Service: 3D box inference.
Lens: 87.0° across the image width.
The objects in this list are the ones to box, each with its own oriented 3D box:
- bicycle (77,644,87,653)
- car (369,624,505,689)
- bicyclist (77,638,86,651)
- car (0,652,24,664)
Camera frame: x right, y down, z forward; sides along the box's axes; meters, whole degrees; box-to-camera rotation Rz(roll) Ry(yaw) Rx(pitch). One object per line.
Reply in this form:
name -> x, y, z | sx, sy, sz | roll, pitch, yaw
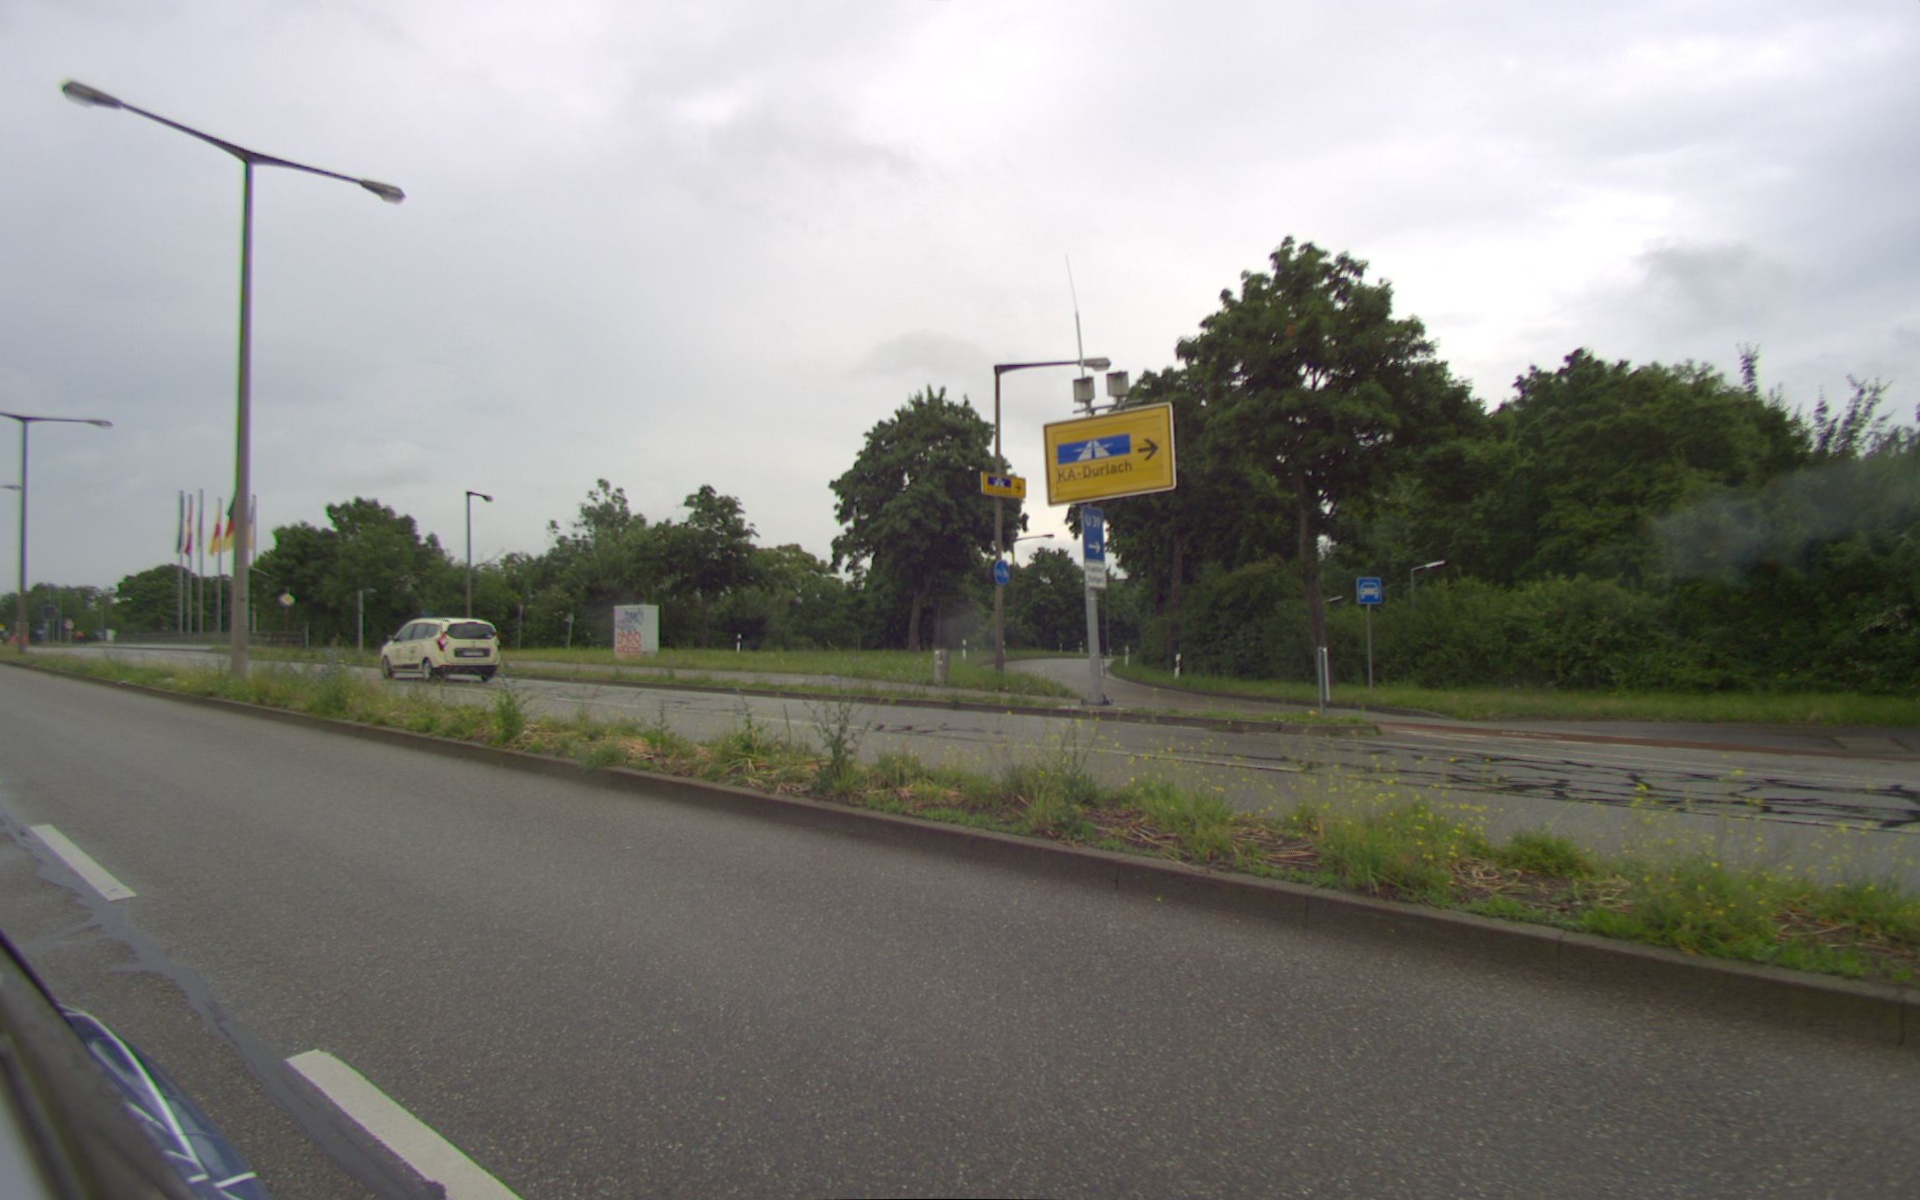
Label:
bicycle -> -99.596, 5.502, 114.748 | 2.000, 1.041, 0.603 | -2, -1, 41
car -> -14.270, 1.523, 27.520 | 4.489, 1.642, 1.689 | -2, -4, 40
bicyclist -> -99.612, 5.038, 114.746 | 1.002, 1.511, 0.613 | -2, -1, 41
car -> -113.583, 6.922, 121.238 | 3.555, 1.459, 1.643 | -2, -4, 41
